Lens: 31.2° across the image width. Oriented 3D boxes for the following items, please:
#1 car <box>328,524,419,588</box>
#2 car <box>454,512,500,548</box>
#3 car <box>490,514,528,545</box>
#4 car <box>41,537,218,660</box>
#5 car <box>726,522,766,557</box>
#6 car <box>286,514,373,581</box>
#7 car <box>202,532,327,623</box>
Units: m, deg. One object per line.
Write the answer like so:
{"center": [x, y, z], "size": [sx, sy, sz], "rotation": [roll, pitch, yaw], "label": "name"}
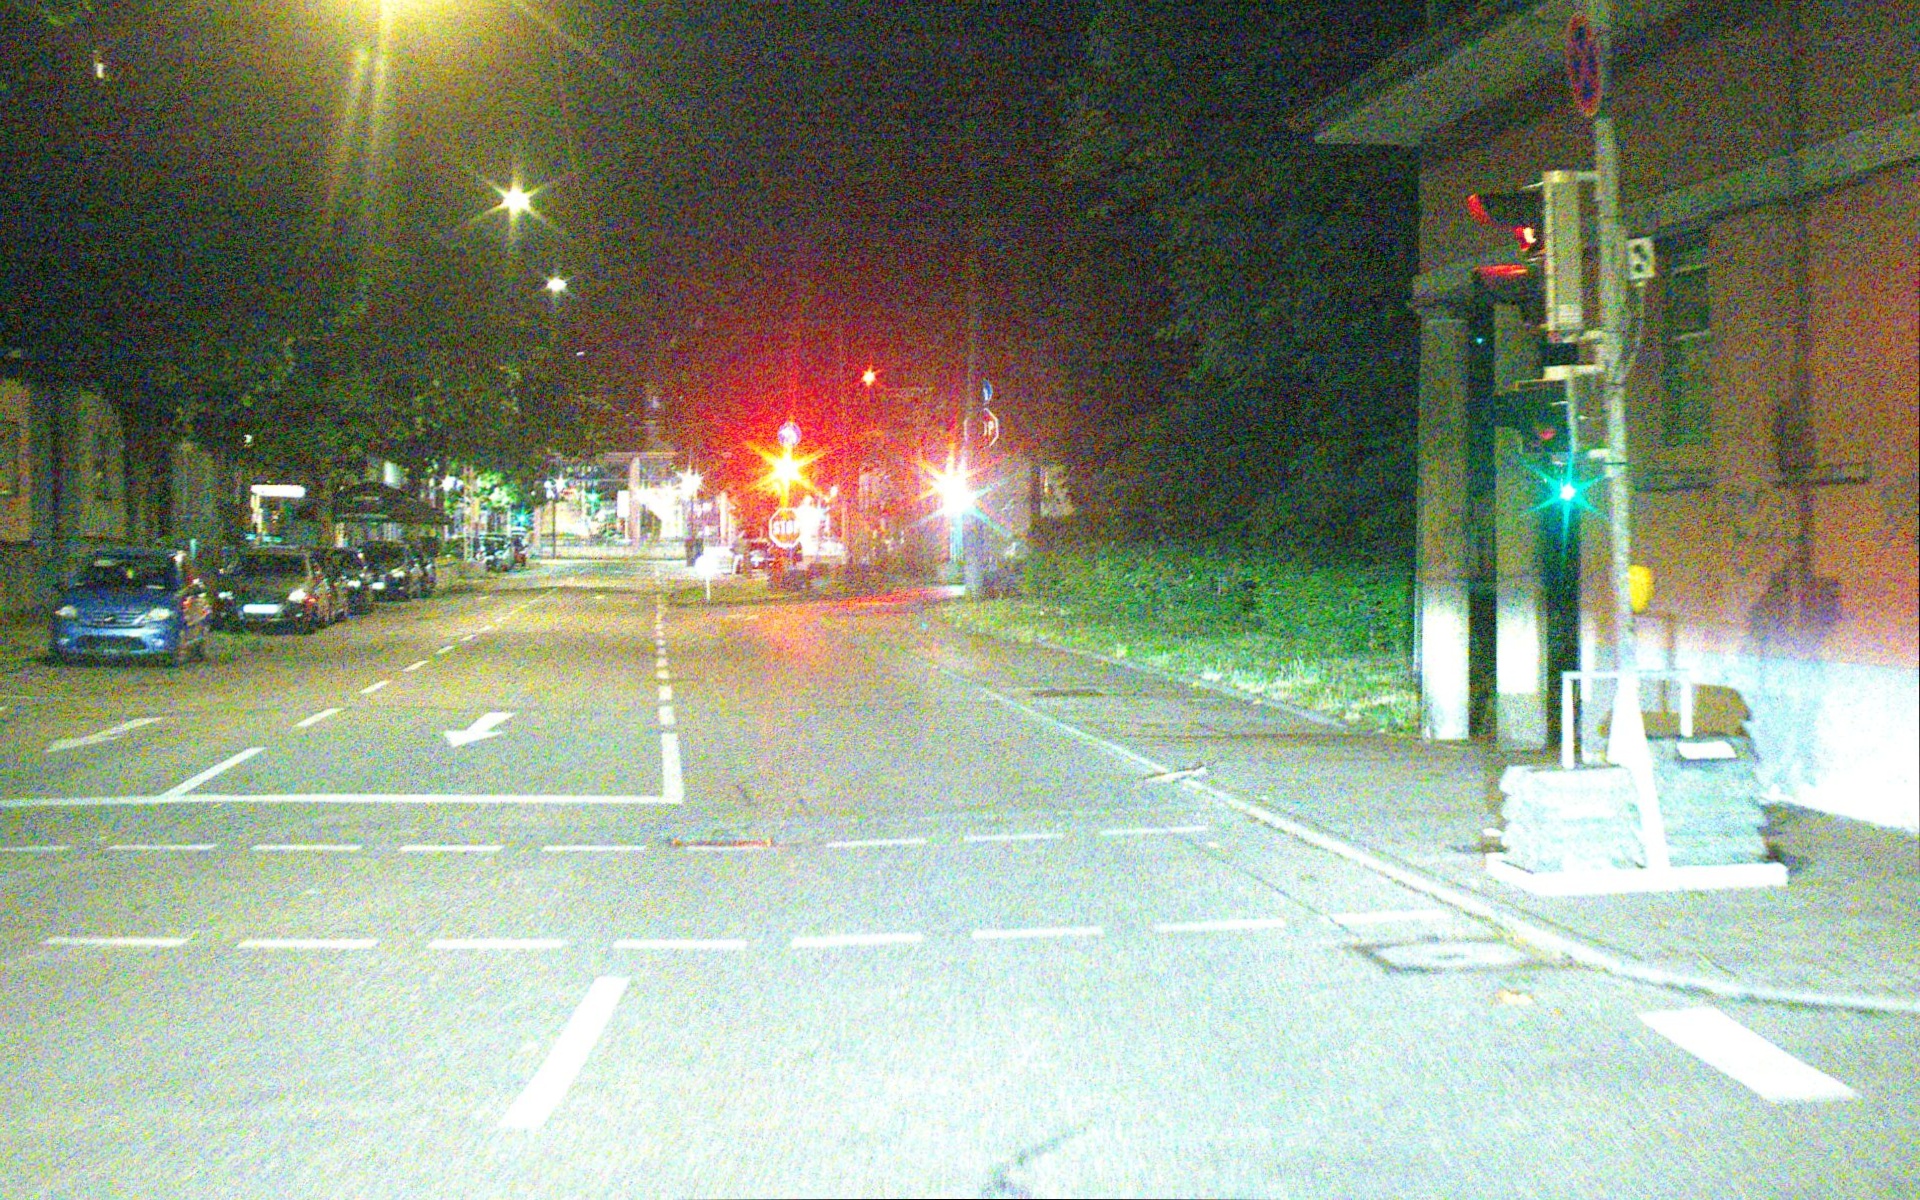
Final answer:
{"center": [-14.884, -1.142, 87.391], "size": [1.899, 1.466, 4.453], "rotation": [1, 2, -5], "label": "car"}
{"center": [-20.073, -2.939, 143.009], "size": [1.651, 1.426, 4.001], "rotation": [-1, 2, -5], "label": "car"}
{"center": [-22.223, -3.488, 169.558], "size": [1.651, 1.426, 4.001], "rotation": [-1, 2, -5], "label": "car"}
{"center": [-10.803, -0.052, 44.953], "size": [1.713, 1.489, 3.991], "rotation": [0, 2, -6], "label": "car"}
{"center": [-9.129, -2.578, 146.505], "size": [1.651, 1.426, 4.001], "rotation": [-1, 2, -4], "label": "car"}
{"center": [-13.627, -1.162, 74.465], "size": [1.622, 1.378, 4.453], "rotation": [-1, 2, -8], "label": "car"}
{"center": [-12.316, -0.433, 61.098], "size": [1.767, 1.480, 4.769], "rotation": [-1, 2, -7], "label": "car"}
